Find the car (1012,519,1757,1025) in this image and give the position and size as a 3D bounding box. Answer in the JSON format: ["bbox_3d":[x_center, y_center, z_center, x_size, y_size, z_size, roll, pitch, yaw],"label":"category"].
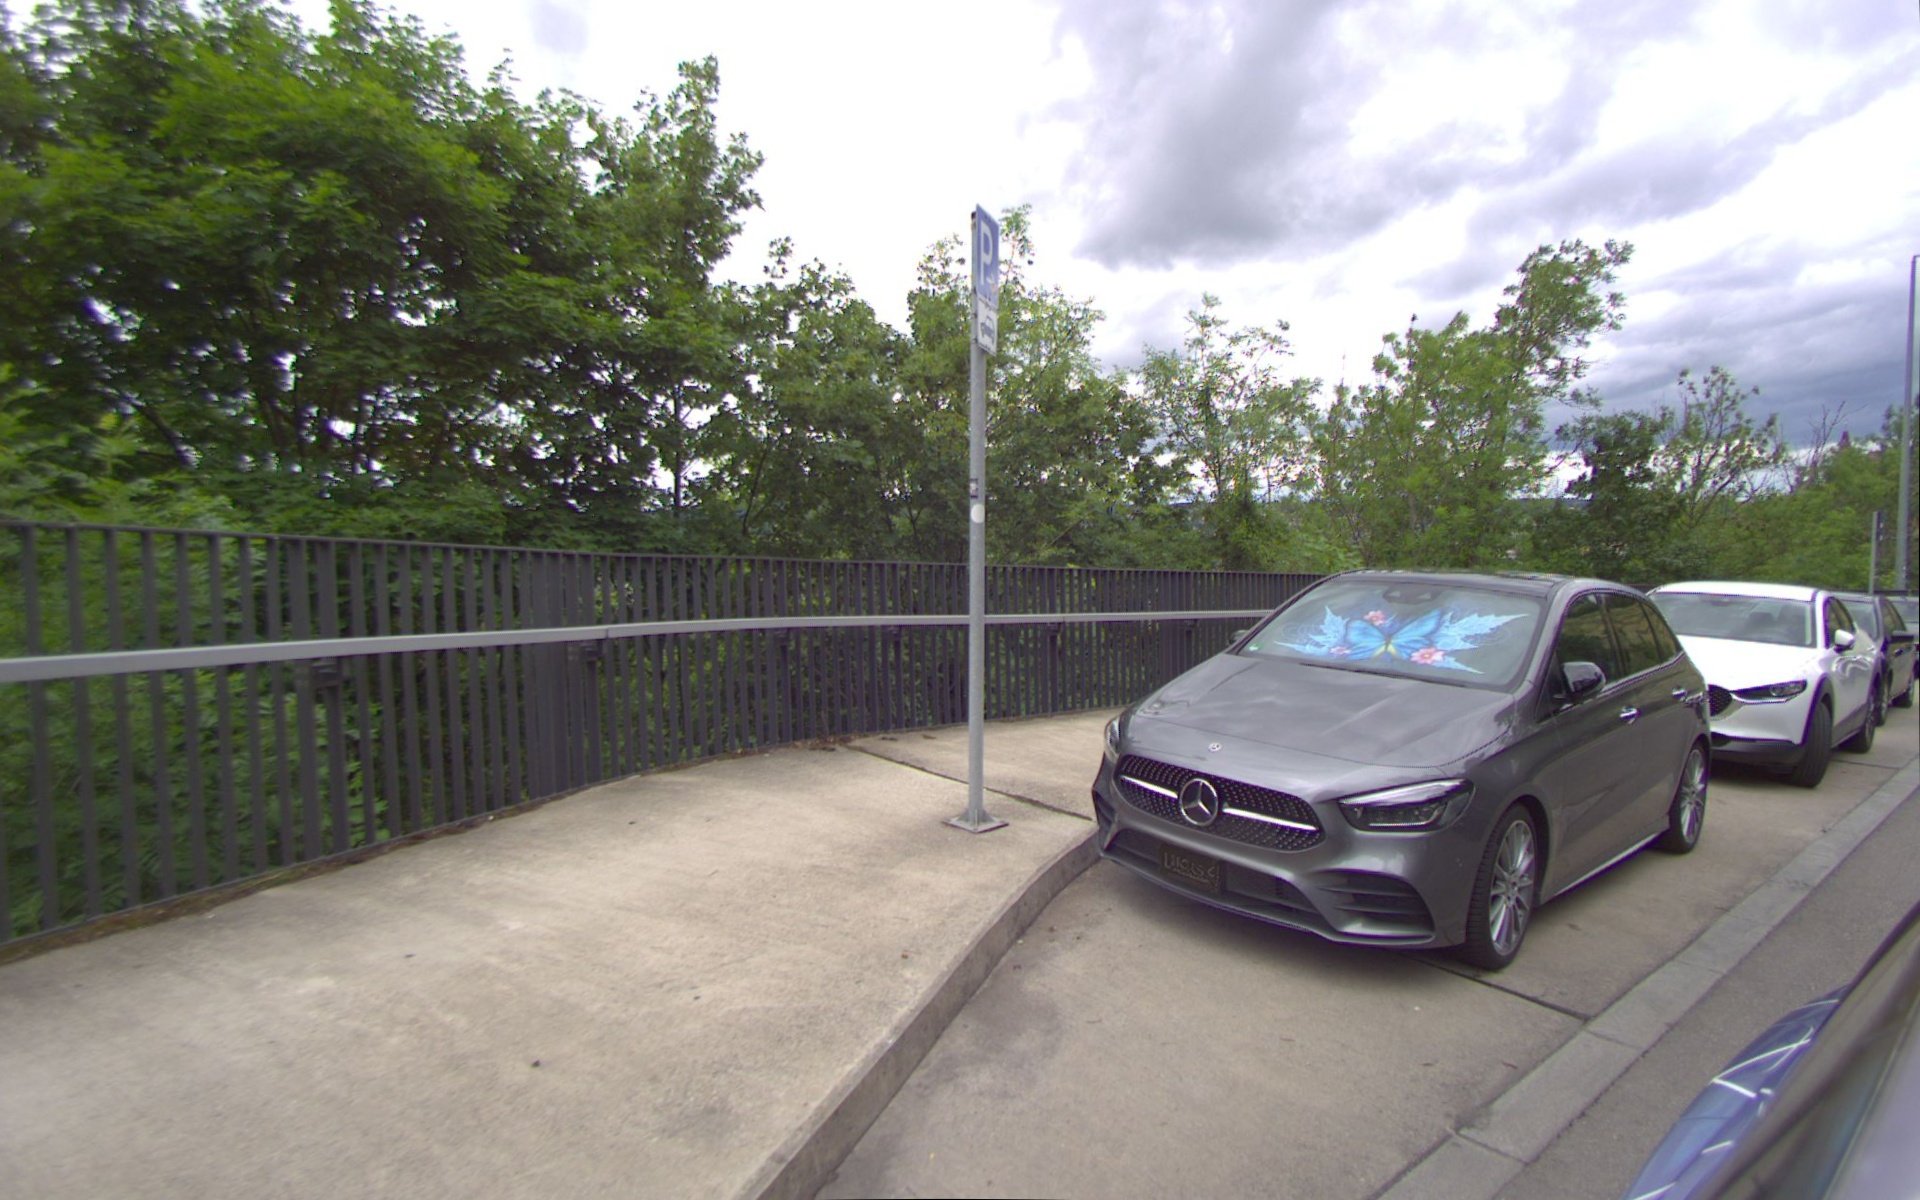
[{"bbox_3d":[2.471,0.470,5.262,4.350,1.562,1.761,-1,5,-41],"label":"car"}]

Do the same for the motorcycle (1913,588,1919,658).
[{"bbox_3d":[21.651,0.493,21.495,2.453,1.486,0.773,0,1,-12],"label":"motorcycle"}]

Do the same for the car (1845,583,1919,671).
[{"bbox_3d":[17.775,0.456,18.506,4.245,1.418,1.827,-1,4,-42],"label":"car"}]

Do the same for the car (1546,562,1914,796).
[{"bbox_3d":[7.138,0.489,9.186,4.544,1.587,1.730,-1,3,-41],"label":"car"}]

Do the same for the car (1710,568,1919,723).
[{"bbox_3d":[11.228,0.448,12.950,4.181,1.590,1.663,-1,5,-41],"label":"car"}]
